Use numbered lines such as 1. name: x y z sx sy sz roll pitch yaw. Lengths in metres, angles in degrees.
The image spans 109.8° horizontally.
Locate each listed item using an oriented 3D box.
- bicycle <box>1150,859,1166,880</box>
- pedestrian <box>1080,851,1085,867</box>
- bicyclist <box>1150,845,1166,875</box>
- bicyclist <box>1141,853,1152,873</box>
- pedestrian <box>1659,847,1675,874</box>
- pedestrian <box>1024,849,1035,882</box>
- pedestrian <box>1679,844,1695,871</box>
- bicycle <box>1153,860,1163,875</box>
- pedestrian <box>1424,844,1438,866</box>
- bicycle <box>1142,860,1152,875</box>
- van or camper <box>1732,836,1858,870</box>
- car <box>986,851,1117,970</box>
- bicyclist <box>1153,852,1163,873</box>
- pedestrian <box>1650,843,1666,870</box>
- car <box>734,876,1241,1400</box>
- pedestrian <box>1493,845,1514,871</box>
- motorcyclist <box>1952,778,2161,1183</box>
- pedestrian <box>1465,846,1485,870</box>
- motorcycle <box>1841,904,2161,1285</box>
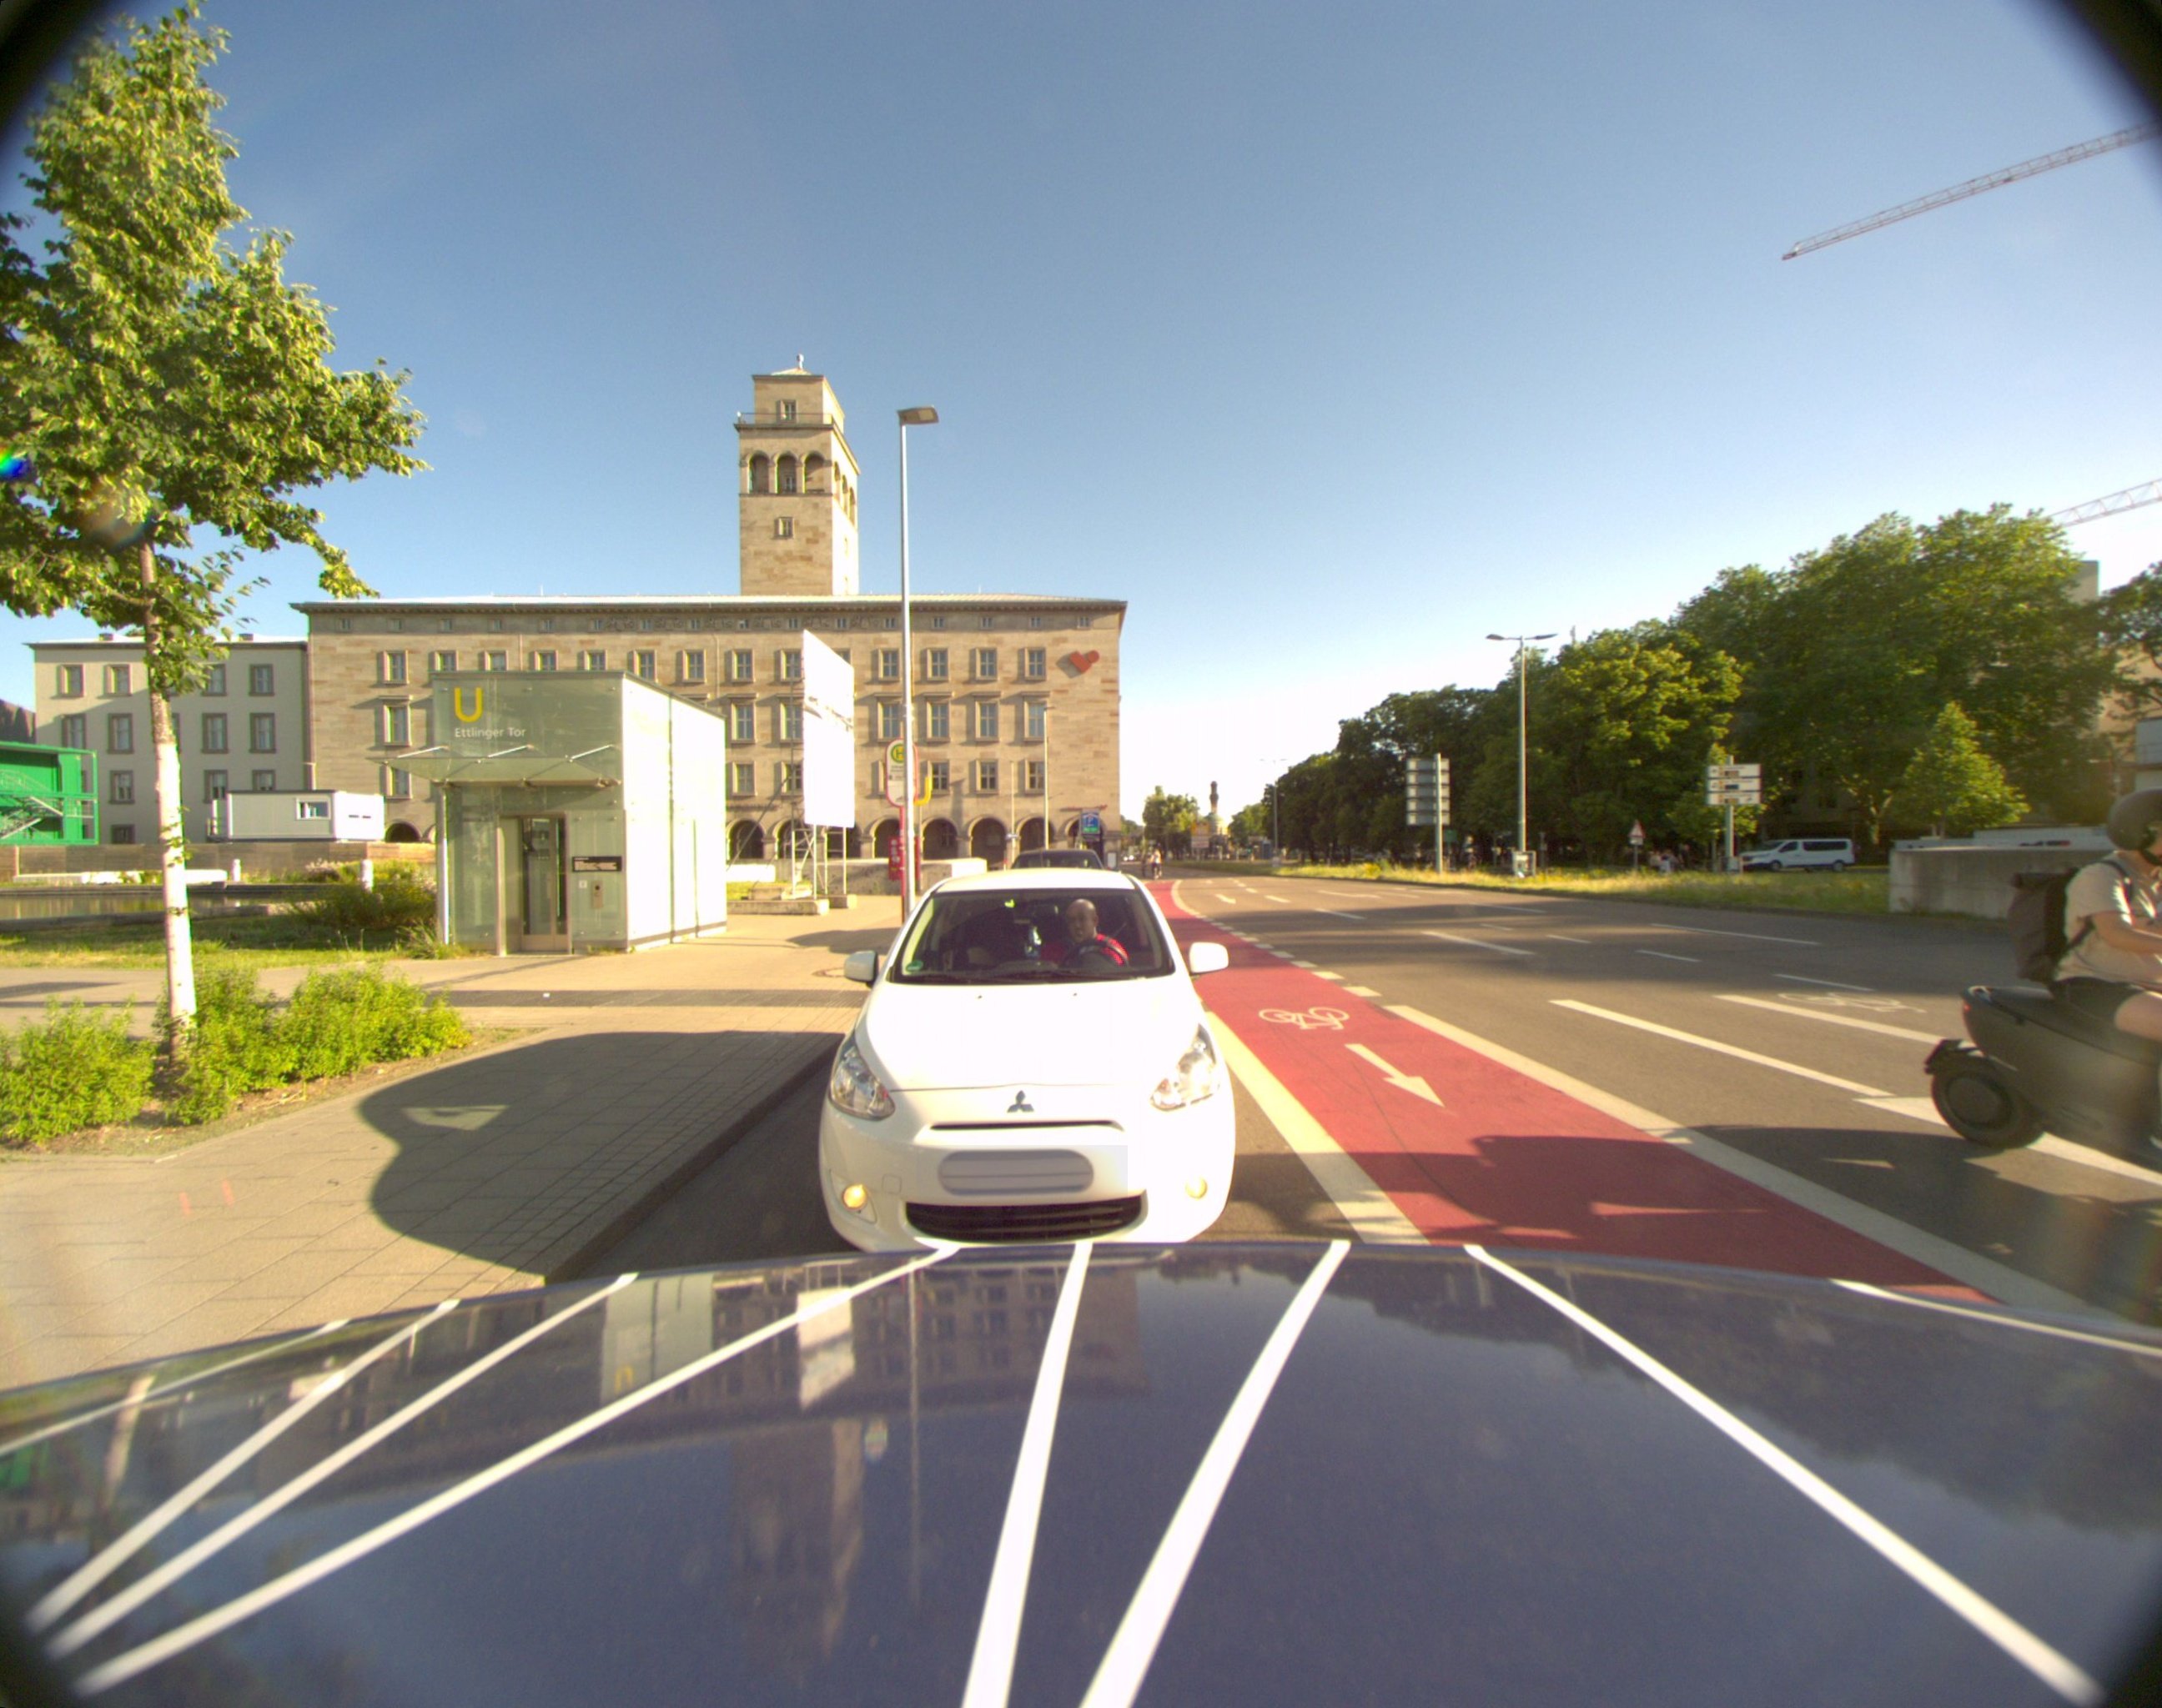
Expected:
1. bicycle: 4.419 0.878 43.797 0.741 1.140 1.890 -1 0 1
2. pedestrian: 0.170 0.663 100.999 0.612 2.002 0.727 -2 1 0
3. bicyclist: 4.417 0.344 43.595 0.807 1.690 0.852 -1 1 1
4. bicyclist: 5.291 0.731 61.184 0.824 1.568 0.877 -1 1 1
5. pedestrian: 32.914 0.347 42.692 0.499 1.502 0.494 -1 1 1
6. pedestrian: -2.702 0.611 39.864 0.552 1.692 0.553 -1 1 -1
7. pedestrian: 33.871 0.207 42.493 0.499 1.502 0.494 -1 1 1
8. bicycle: 6.159 1.068 60.893 0.689 1.185 1.506 -1 1 1
9. pedestrian: 32.452 0.127 70.448 0.954 2.002 0.842 -1 2 42
10. bicycle: 5.322 1.088 61.174 0.689 1.185 1.506 -1 1 1
11. van or camper: 42.237 -0.050 45.059 5.499 1.934 1.951 -1 0 4
12. car: -0.393 0.795 12.776 1.833 1.660 4.000 -1 0 1
13. bicyclist: 6.160 0.680 60.962 0.674 1.649 0.877 -1 1 1
14. pedestrian: 32.280 0.150 42.509 0.499 1.502 0.494 -1 1 1
15. car: -0.256 0.927 4.305 1.519 1.447 4.000 -1 0 1
16. pedestrian: 32.797 0.298 58.940 1.126 1.952 0.815 -2 1 1
17. motorcyclist: 4.286 0.448 2.939 0.824 1.455 0.877 -1 1 1
18. pedestrian: 32.746 0.331 63.109 0.951 1.952 1.058 -2 1 -14
19. motorcycle: 4.272 0.898 2.895 0.828 1.273 1.944 -1 0 1
